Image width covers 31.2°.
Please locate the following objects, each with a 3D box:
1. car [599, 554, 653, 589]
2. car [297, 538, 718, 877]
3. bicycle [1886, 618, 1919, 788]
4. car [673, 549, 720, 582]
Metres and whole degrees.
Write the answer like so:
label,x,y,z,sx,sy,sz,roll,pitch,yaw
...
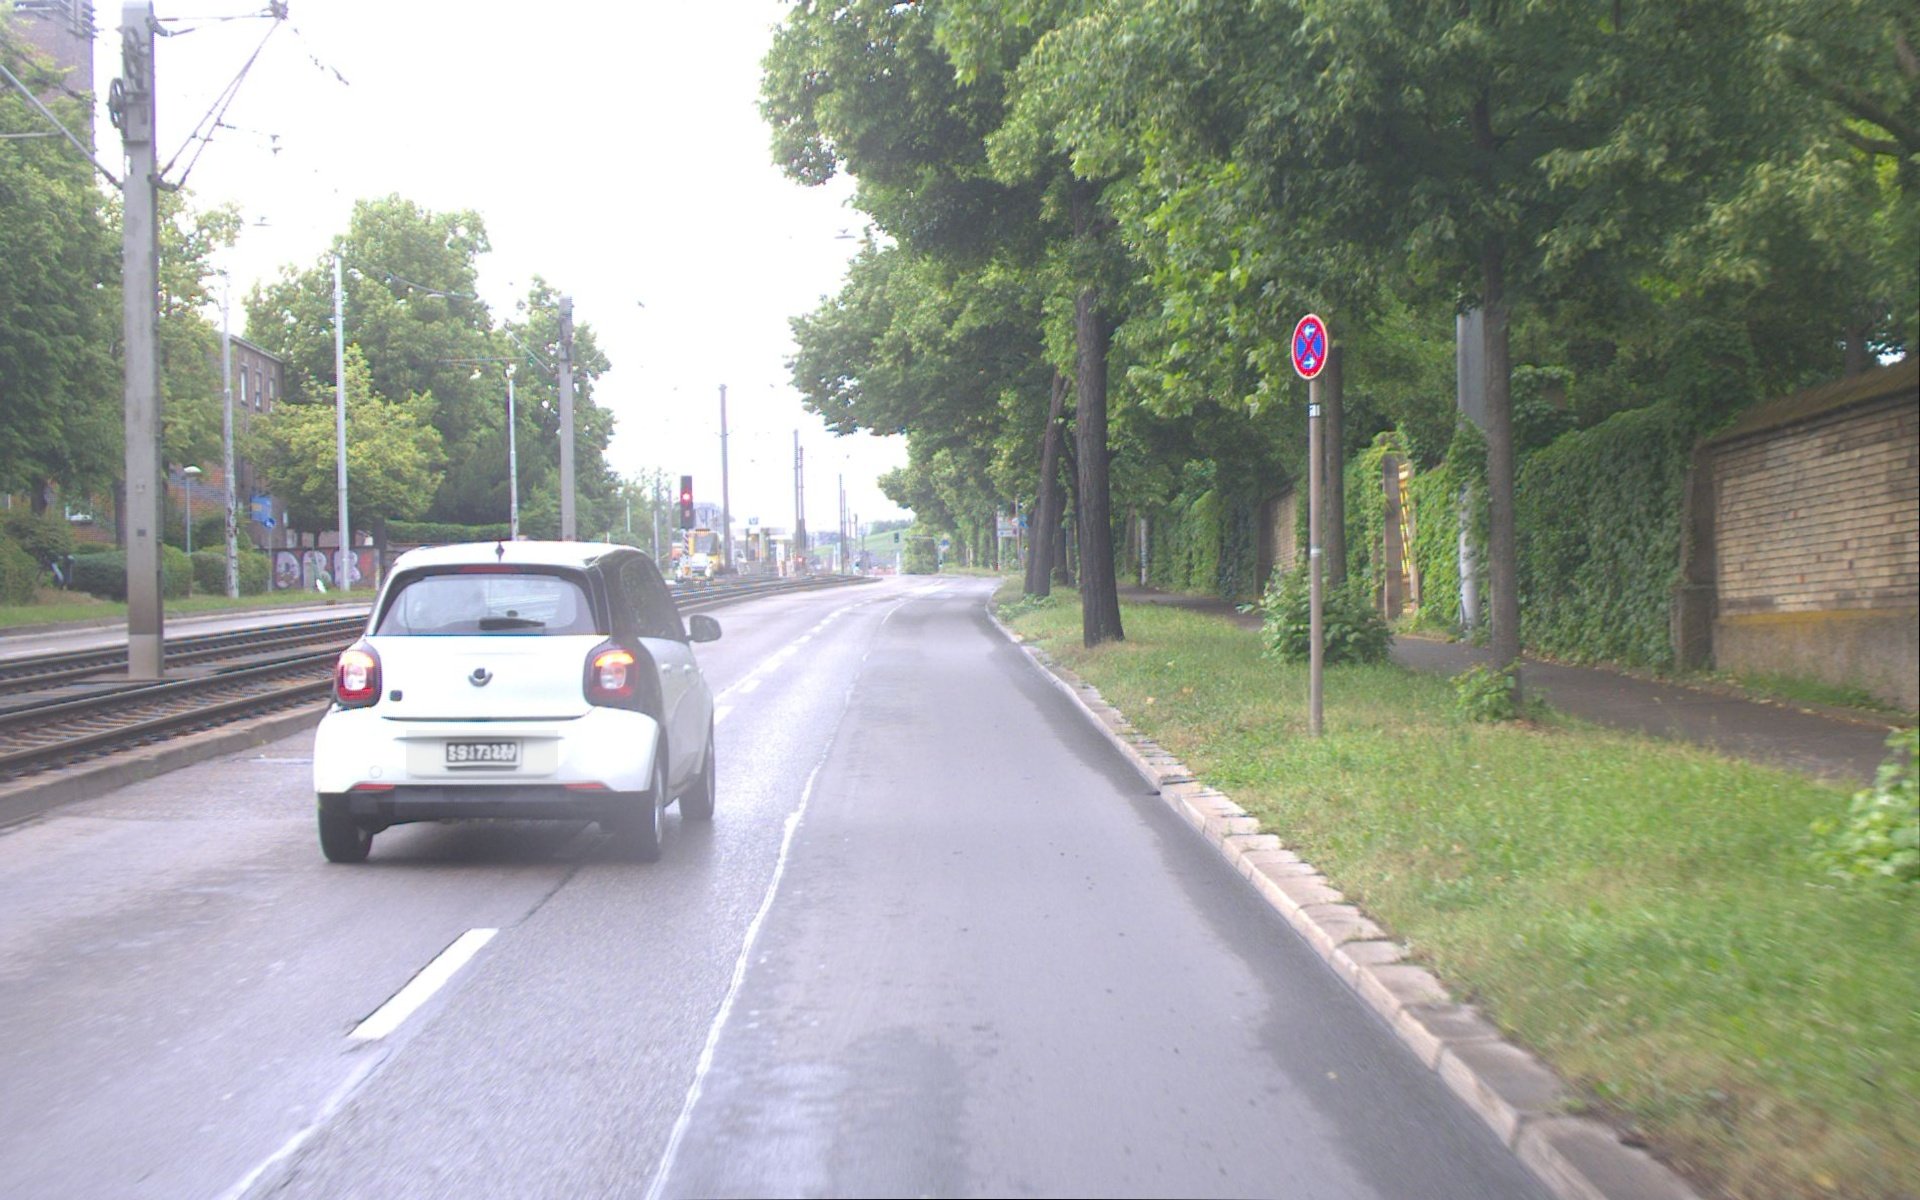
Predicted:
label,x,y,z,sx,sy,sz,roll,pitch,yaw
car,-16.813,-1.451,173.438,2.013,1.650,4.616,-1,1,3
car,-2.218,0.464,17.712,1.676,1.525,3.722,-1,1,0
bicycle,5.695,0.598,19.037,0.543,0.945,2.549,-1,1,3
car,-13.412,-1.768,174.995,1.835,1.650,4.239,-1,1,3
